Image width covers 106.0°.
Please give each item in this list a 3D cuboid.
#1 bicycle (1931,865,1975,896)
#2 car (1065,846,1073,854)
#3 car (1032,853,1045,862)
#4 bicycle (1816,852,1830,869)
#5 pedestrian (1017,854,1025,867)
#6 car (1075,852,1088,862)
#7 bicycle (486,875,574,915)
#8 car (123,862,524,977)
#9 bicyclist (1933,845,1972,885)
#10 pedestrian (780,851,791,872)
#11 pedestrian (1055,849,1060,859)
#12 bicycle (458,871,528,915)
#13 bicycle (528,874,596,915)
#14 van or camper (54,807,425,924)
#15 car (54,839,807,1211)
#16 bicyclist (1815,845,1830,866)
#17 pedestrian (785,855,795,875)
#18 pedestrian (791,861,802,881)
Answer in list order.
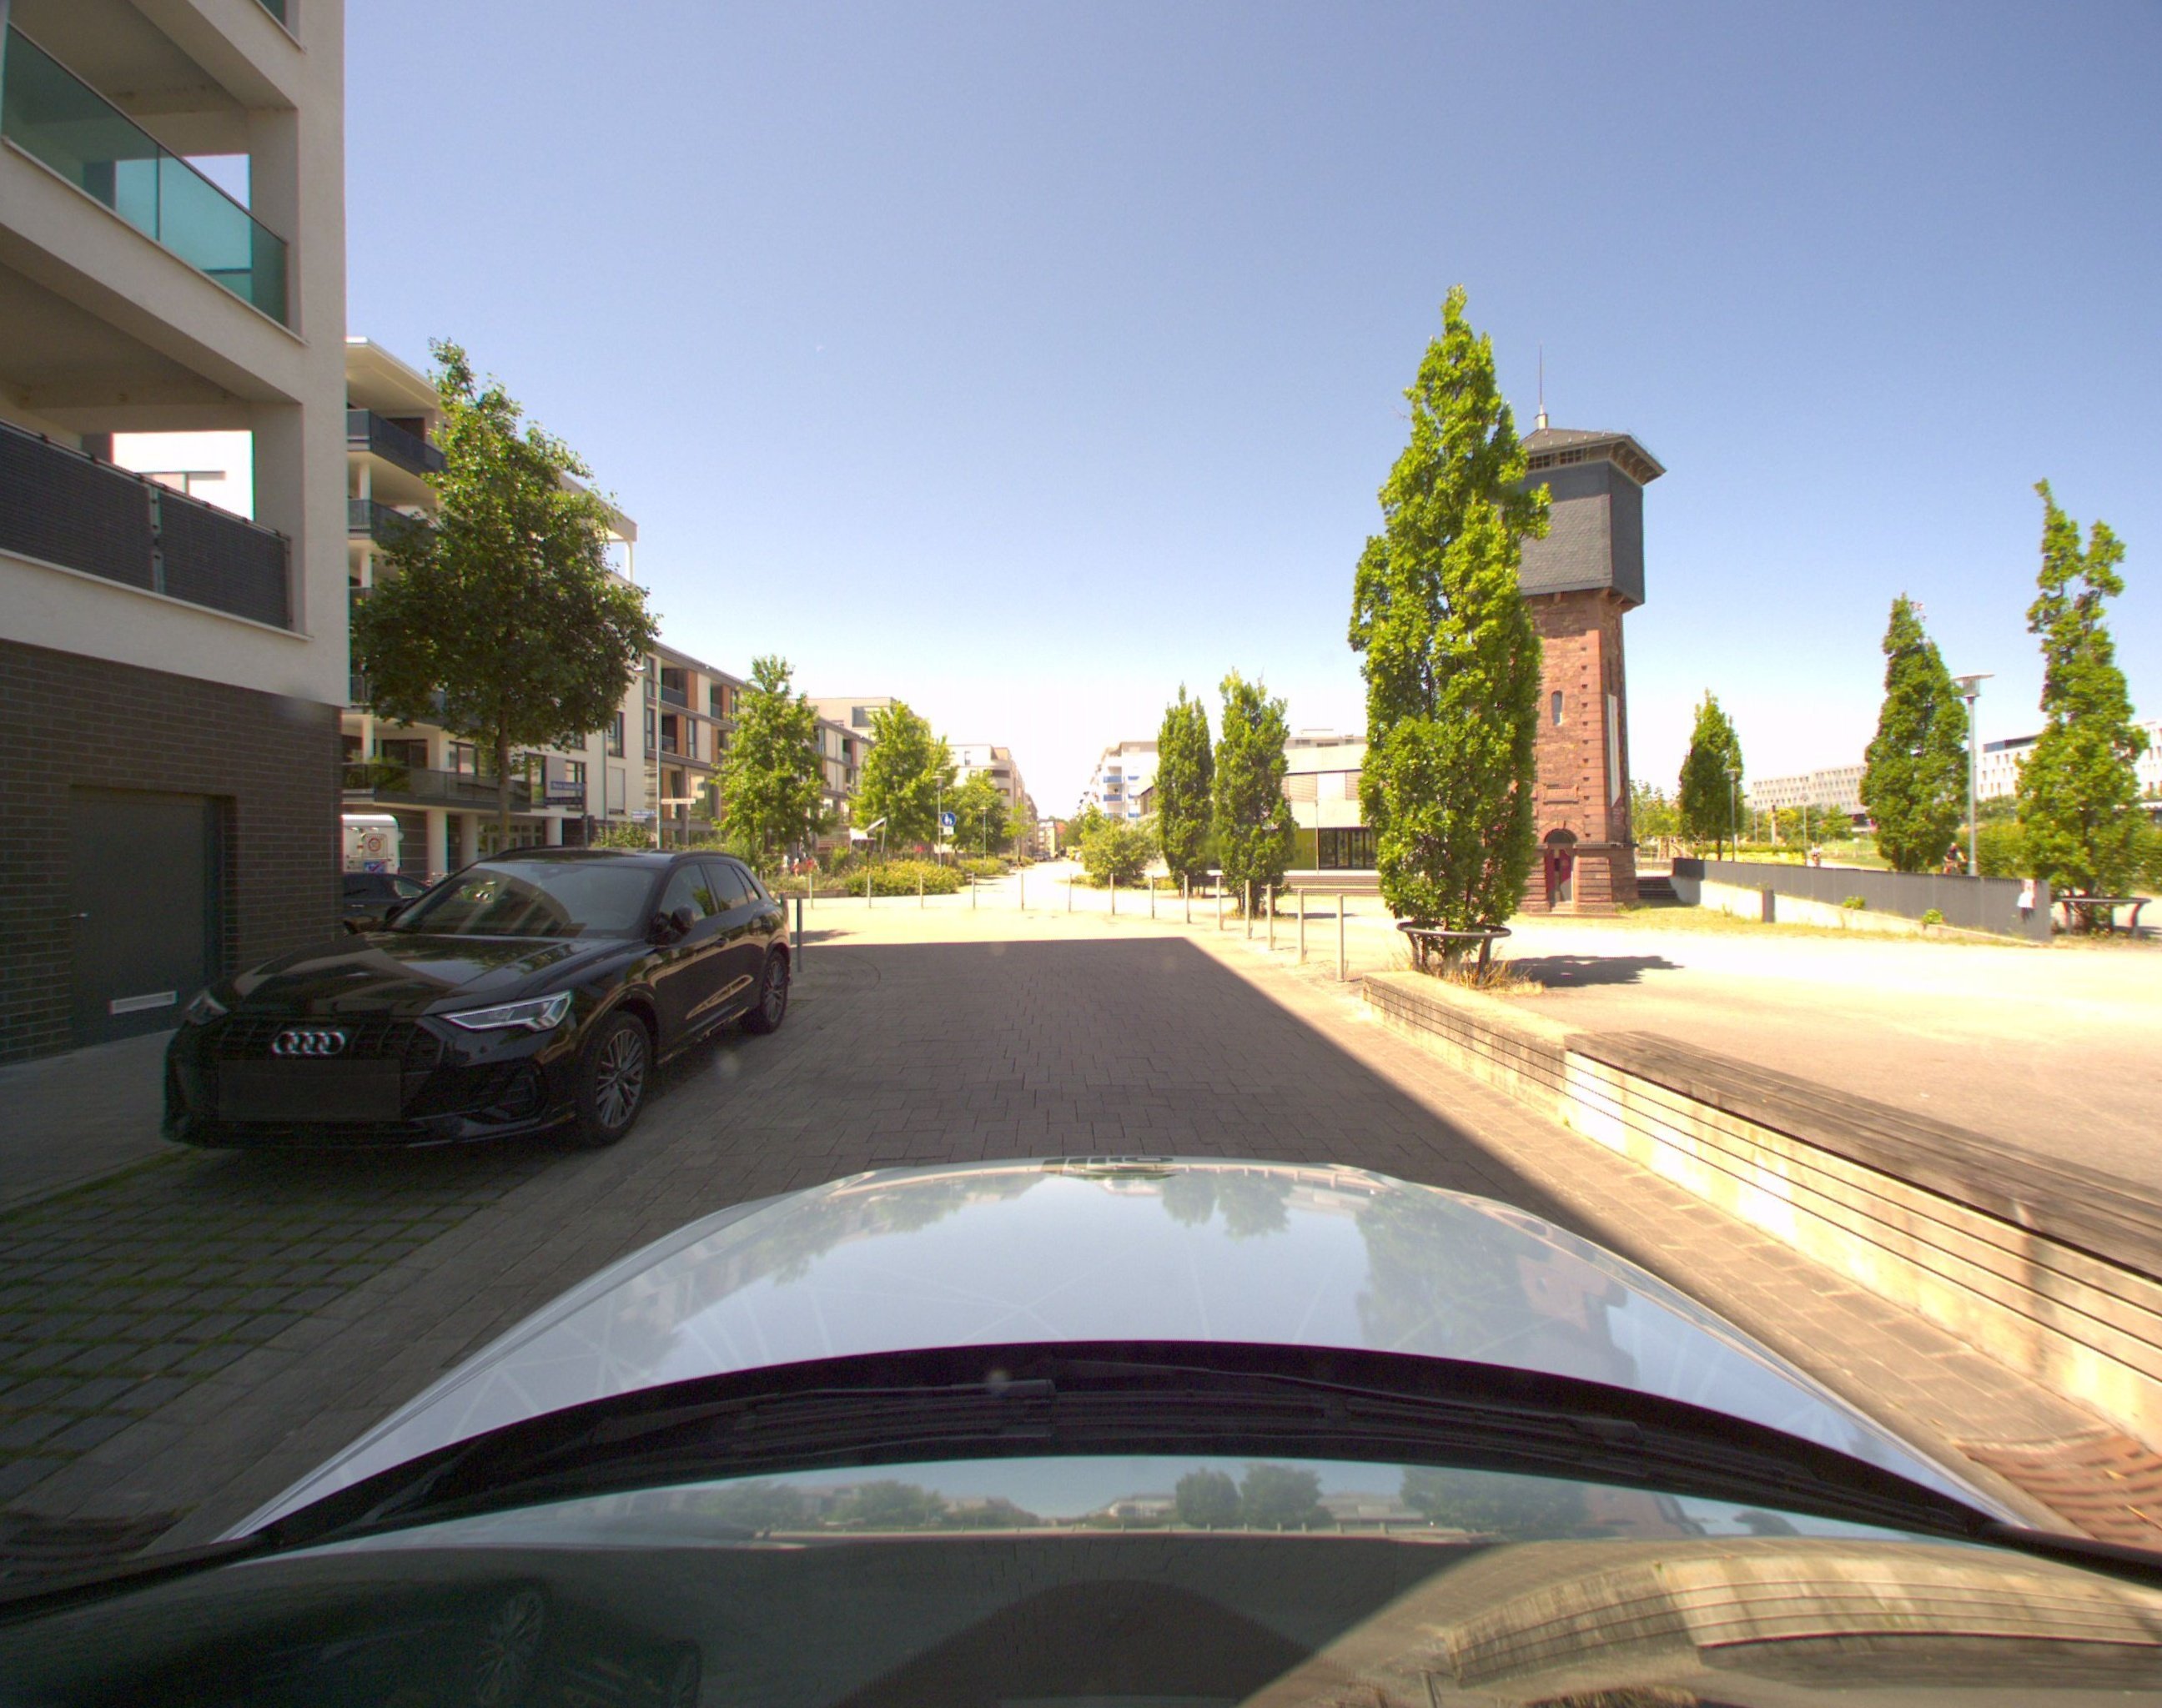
[{"bbox_3d":[32.563,0.966,30.435,0.788,1.118,1.927,-1,-1,37],"label":"bicycle"},{"bbox_3d":[-3.371,-1.140,230.320,1.988,2.014,3.997,0,-1,-2],"label":"car"},{"bbox_3d":[-7.464,0.595,143.401,2.139,1.652,4.087,0,-1,0],"label":"car"},{"bbox_3d":[51.935,0.440,57.021,0.583,1.199,1.954,-1,-1,38],"label":"bicycle"},{"bbox_3d":[-6.409,0.702,86.763,0.845,1.348,0.695,0,0,-2],"label":"pedestrian"},{"bbox_3d":[0.111,0.535,135.019,1.987,1.609,4.000,0,-1,0],"label":"car"},{"bbox_3d":[-15.515,1.142,22.981,0.935,0.975,1.867,-1,1,15],"label":"bicycle"},{"bbox_3d":[-12.120,0.921,13.708,1.915,1.485,5.115,-1,0,0],"label":"car"},{"bbox_3d":[32.567,0.416,30.443,0.848,1.455,0.888,-1,-1,37],"label":"bicyclist"},{"bbox_3d":[-14.314,0.368,39.397,0.279,1.025,0.414,-2,-2,34],"label":"pedestrian"},{"bbox_3d":[-3.451,0.017,121.284,0.692,1.529,0.599,-1,0,0],"label":"pedestrian"},{"bbox_3d":[-16.523,1.070,22.941,0.472,1.110,1.891,-1,1,4],"label":"bicycle"},{"bbox_3d":[-14.566,1.118,22.930,0.872,1.003,2.027,-1,1,-9],"label":"bicycle"},{"bbox_3d":[-23.176,0.320,22.687,7.773,2.906,2.447,-1,-1,1],"label":"van or camper"},{"bbox_3d":[-3.417,0.709,5.585,1.770,1.519,4.391,1,0,-3],"label":"car"},{"bbox_3d":[51.944,0.122,57.065,0.724,1.435,0.665,-1,-1,38],"label":"bicyclist"},{"bbox_3d":[-14.825,0.556,41.486,0.396,1.026,0.411,0,-2,-9],"label":"pedestrian"},{"bbox_3d":[-13.821,0.808,39.562,0.384,0.971,0.291,-1,-1,13],"label":"pedestrian"}]
